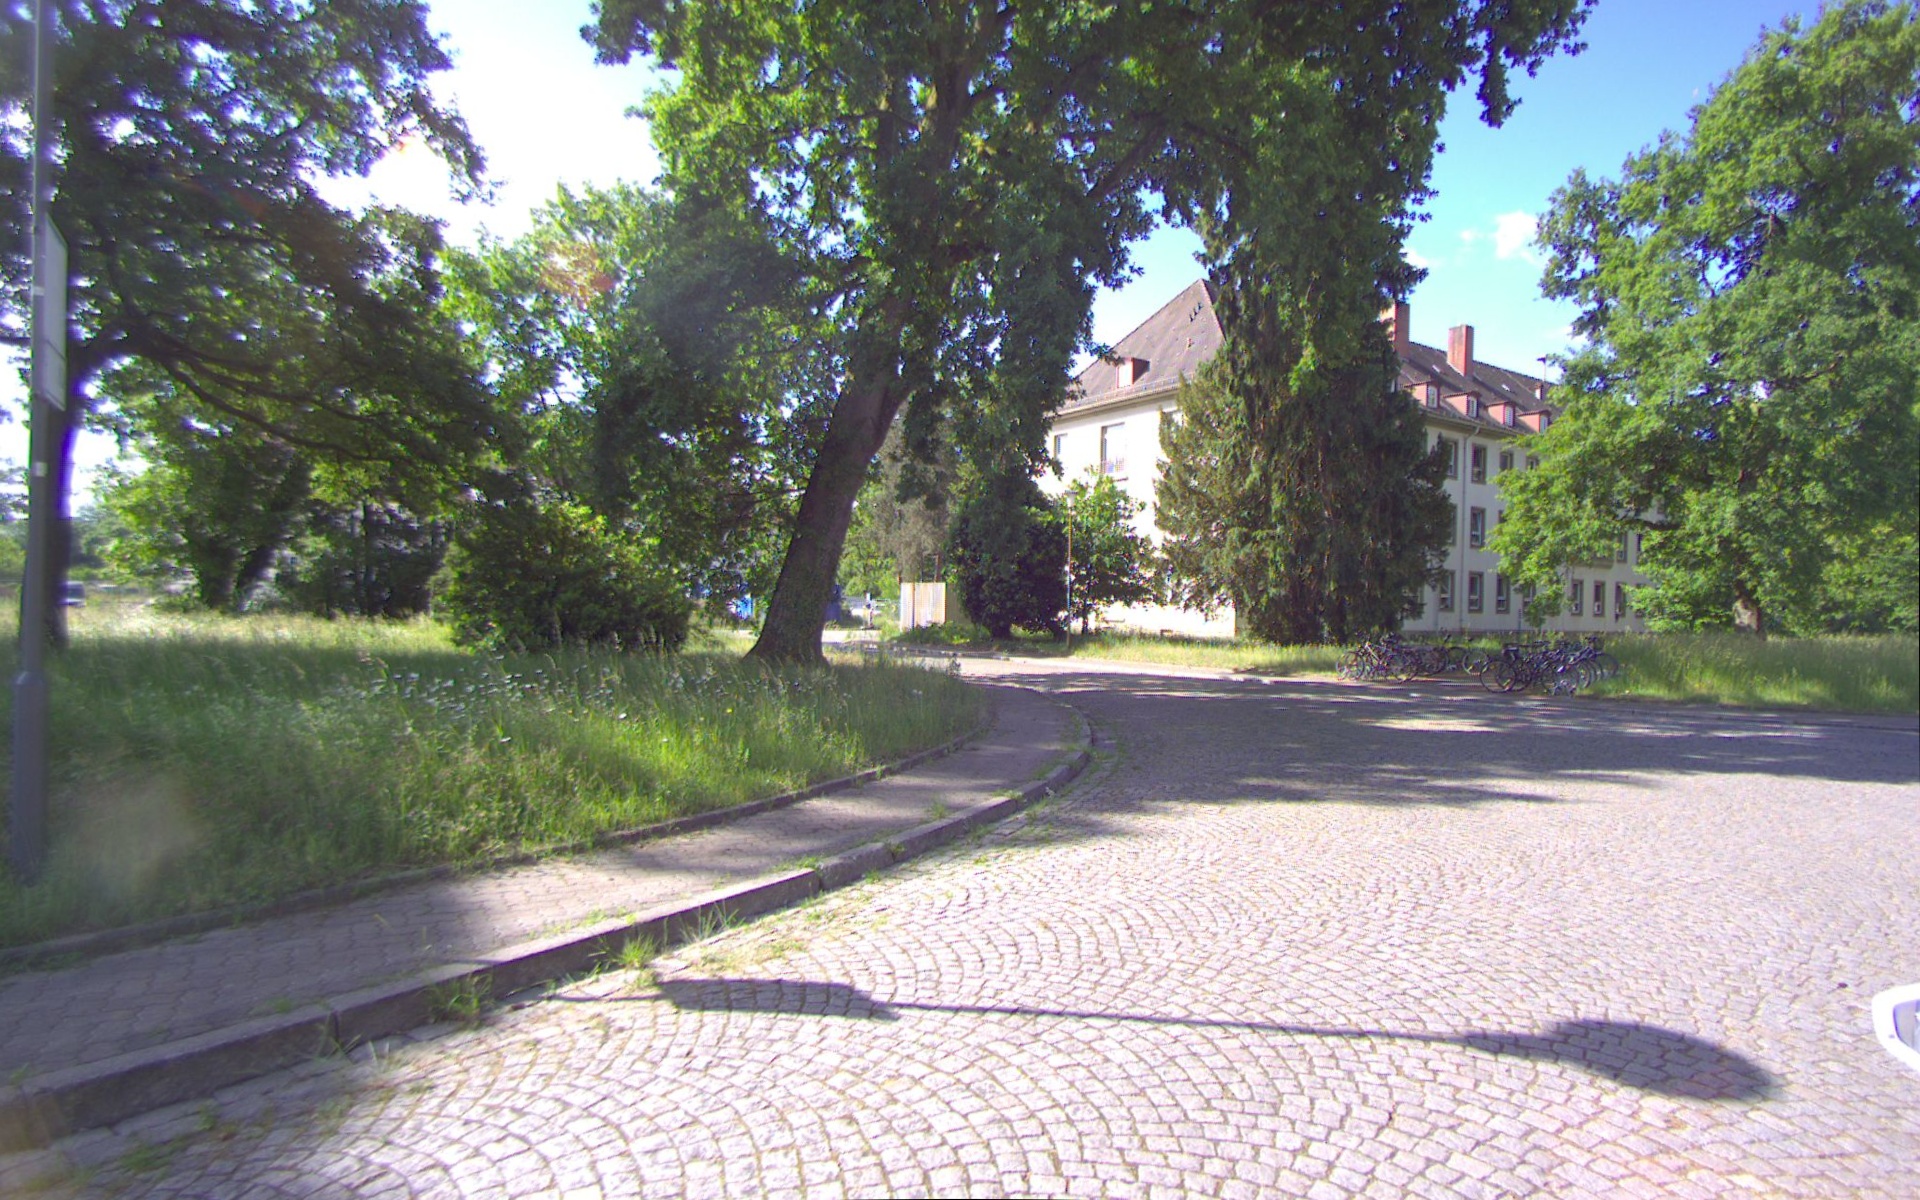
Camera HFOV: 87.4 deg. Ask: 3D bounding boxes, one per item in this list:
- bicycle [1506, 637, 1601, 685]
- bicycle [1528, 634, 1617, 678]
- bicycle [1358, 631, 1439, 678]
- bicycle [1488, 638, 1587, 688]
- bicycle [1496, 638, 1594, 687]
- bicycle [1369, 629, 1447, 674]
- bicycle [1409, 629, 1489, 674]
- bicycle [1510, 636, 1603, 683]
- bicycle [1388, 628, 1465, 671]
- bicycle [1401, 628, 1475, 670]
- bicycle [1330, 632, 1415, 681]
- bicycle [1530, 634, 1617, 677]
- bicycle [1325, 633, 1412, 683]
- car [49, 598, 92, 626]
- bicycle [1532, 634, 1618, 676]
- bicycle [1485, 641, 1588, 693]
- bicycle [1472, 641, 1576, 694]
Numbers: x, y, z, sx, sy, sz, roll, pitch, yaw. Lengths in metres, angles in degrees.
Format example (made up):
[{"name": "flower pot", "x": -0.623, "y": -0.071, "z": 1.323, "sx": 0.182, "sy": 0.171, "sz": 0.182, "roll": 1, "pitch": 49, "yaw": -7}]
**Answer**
[{"name": "bicycle", "x": 13.817, "y": 1.412, "z": 23.414, "sx": 1.887, "sy": 1.072, "sz": 0.474, "roll": -1, "pitch": -2, "yaw": 34}, {"name": "bicycle", "x": 15.520, "y": 1.398, "z": 25.477, "sx": 1.888, "sy": 1.072, "sz": 0.474, "roll": -1, "pitch": -2, "yaw": 36}, {"name": "bicycle", "x": 11.420, "y": 1.412, "z": 26.160, "sx": 1.884, "sy": 1.118, "sz": 0.569, "roll": 1, "pitch": 1, "yaw": 29}, {"name": "bicycle", "x": 12.871, "y": 1.397, "z": 22.412, "sx": 1.887, "sy": 1.072, "sz": 0.474, "roll": -1, "pitch": -2, "yaw": 34}, {"name": "bicycle", "x": 13.272, "y": 1.404, "z": 22.818, "sx": 1.887, "sy": 1.072, "sz": 0.474, "roll": -1, "pitch": -2, "yaw": 34}, {"name": "bicycle", "x": 12.195, "y": 1.388, "z": 27.330, "sx": 1.884, "sy": 1.118, "sz": 0.569, "roll": 1, "pitch": 1, "yaw": 29}, {"name": "bicycle", "x": 13.371, "y": 1.384, "z": 27.486, "sx": 1.889, "sy": 1.118, "sz": 0.568, "roll": 1, "pitch": 1, "yaw": 38}, {"name": "bicycle", "x": 14.313, "y": 1.414, "z": 24.126, "sx": 1.888, "sy": 1.072, "sz": 0.474, "roll": -1, "pitch": -2, "yaw": 36}, {"name": "bicycle", "x": 13.269, "y": 1.399, "z": 28.585, "sx": 1.889, "sy": 1.118, "sz": 0.568, "roll": 1, "pitch": 1, "yaw": 38}, {"name": "bicycle", "x": 13.926, "y": 1.423, "z": 29.288, "sx": 1.886, "sy": 1.118, "sz": 0.569, "roll": 1, "pitch": 1, "yaw": 33}, {"name": "bicycle", "x": 10.238, "y": 1.384, "z": 24.962, "sx": 1.886, "sy": 1.118, "sz": 0.569, "roll": 0, "pitch": 1, "yaw": 33}, {"name": "bicycle", "x": 15.802, "y": 1.410, "z": 25.891, "sx": 1.888, "sy": 1.072, "sz": 0.474, "roll": -1, "pitch": -2, "yaw": 36}, {"name": "bicycle", "x": 9.950, "y": 1.396, "z": 24.506, "sx": 1.886, "sy": 1.118, "sz": 0.569, "roll": 0, "pitch": 1, "yaw": 33}, {"name": "car", "x": -62.935, "y": 0.848, "z": 71.071, "sx": 4.081, "sy": 1.879, "sz": 1.983, "roll": 0, "pitch": -1, "yaw": 44}, {"name": "bicycle", "x": 16.072, "y": 1.420, "z": 26.271, "sx": 1.888, "sy": 1.072, "sz": 0.474, "roll": -1, "pitch": -2, "yaw": 36}, {"name": "bicycle", "x": 12.299, "y": 1.408, "z": 21.491, "sx": 1.884, "sy": 1.072, "sz": 0.475, "roll": -1, "pitch": -2, "yaw": 28}, {"name": "bicycle", "x": 11.853, "y": 1.415, "z": 21.168, "sx": 1.884, "sy": 1.072, "sz": 0.475, "roll": -1, "pitch": -2, "yaw": 28}]
